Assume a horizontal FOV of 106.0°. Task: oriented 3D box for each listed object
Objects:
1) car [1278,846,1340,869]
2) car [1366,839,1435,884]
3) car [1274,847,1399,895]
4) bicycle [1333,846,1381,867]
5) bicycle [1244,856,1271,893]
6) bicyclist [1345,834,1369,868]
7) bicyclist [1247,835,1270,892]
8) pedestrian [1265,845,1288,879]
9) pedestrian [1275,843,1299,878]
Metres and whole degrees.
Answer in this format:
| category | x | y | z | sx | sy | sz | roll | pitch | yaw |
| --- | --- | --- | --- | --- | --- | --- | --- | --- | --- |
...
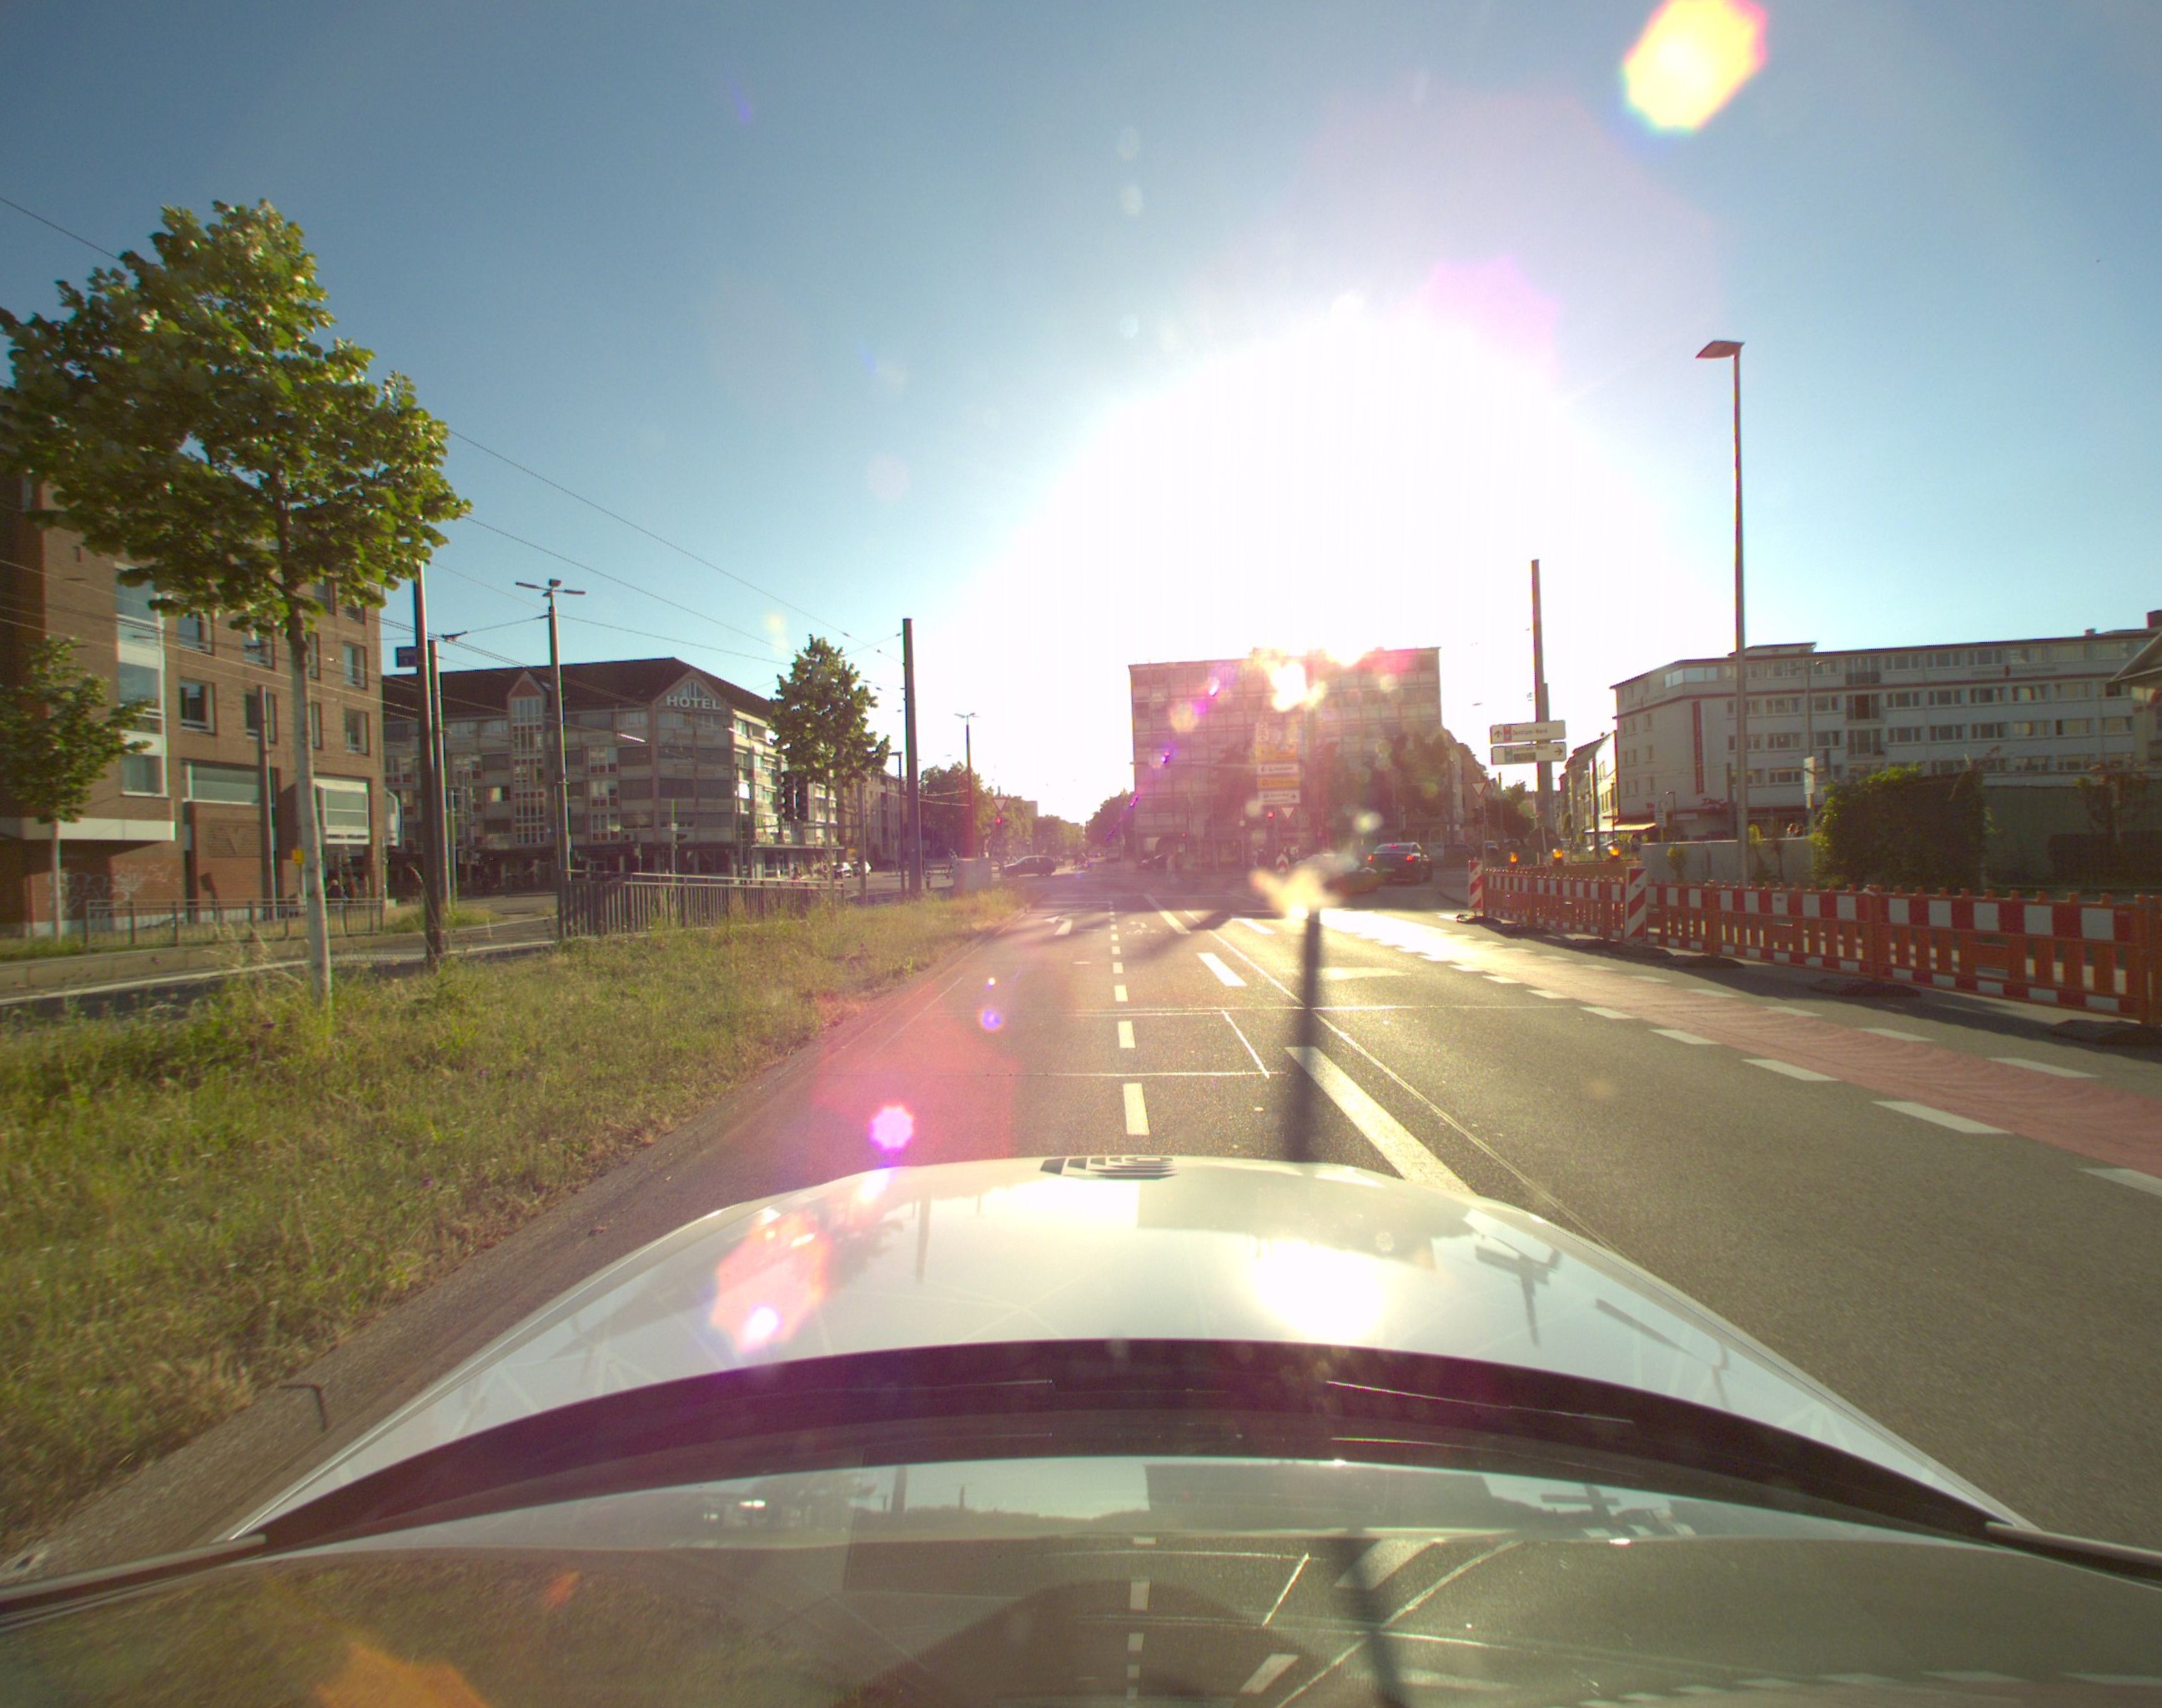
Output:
| category | x | y | z | sx | sy | sz | roll | pitch | yaw |
| --- | --- | --- | --- | --- | --- | --- | --- | --- | --- |
| car | 17.639 | 0.283 | 63.212 | 4.310 | 1.596 | 2.003 | -3 | 0 | 6 |
| car | 13.299 | 0.274 | 33.776 | 1.974 | 1.693 | 4.026 | 0 | 1 | 31 |
| car | 8.708 | 0.554 | 27.698 | 4.010 | 1.426 | 1.733 | -2 | 0 | -28 |
| bicycle | 14.205 | 0.141 | 41.886 | 2.216 | 1.026 | 0.683 | -2 | 0 | 4 |
| bicycle | 6.400 | 0.719 | 29.608 | 0.642 | 1.223 | 2.050 | 0 | 2 | 2 |
| bicyclist | 14.193 | -0.155 | 41.901 | 0.954 | 1.661 | 0.692 | -2 | 0 | 4 |
| bicyclist | 6.405 | 0.333 | 29.440 | 0.641 | 2.013 | 1.068 | 0 | 1 | 2 |
| pedestrian | 9.387 | 0.373 | 39.095 | 0.876 | 1.597 | 0.655 | -2 | 0 | -1 |
| pedestrian | 9.678 | 0.323 | 38.328 | 0.876 | 1.597 | 0.655 | -2 | 0 | -1 |
